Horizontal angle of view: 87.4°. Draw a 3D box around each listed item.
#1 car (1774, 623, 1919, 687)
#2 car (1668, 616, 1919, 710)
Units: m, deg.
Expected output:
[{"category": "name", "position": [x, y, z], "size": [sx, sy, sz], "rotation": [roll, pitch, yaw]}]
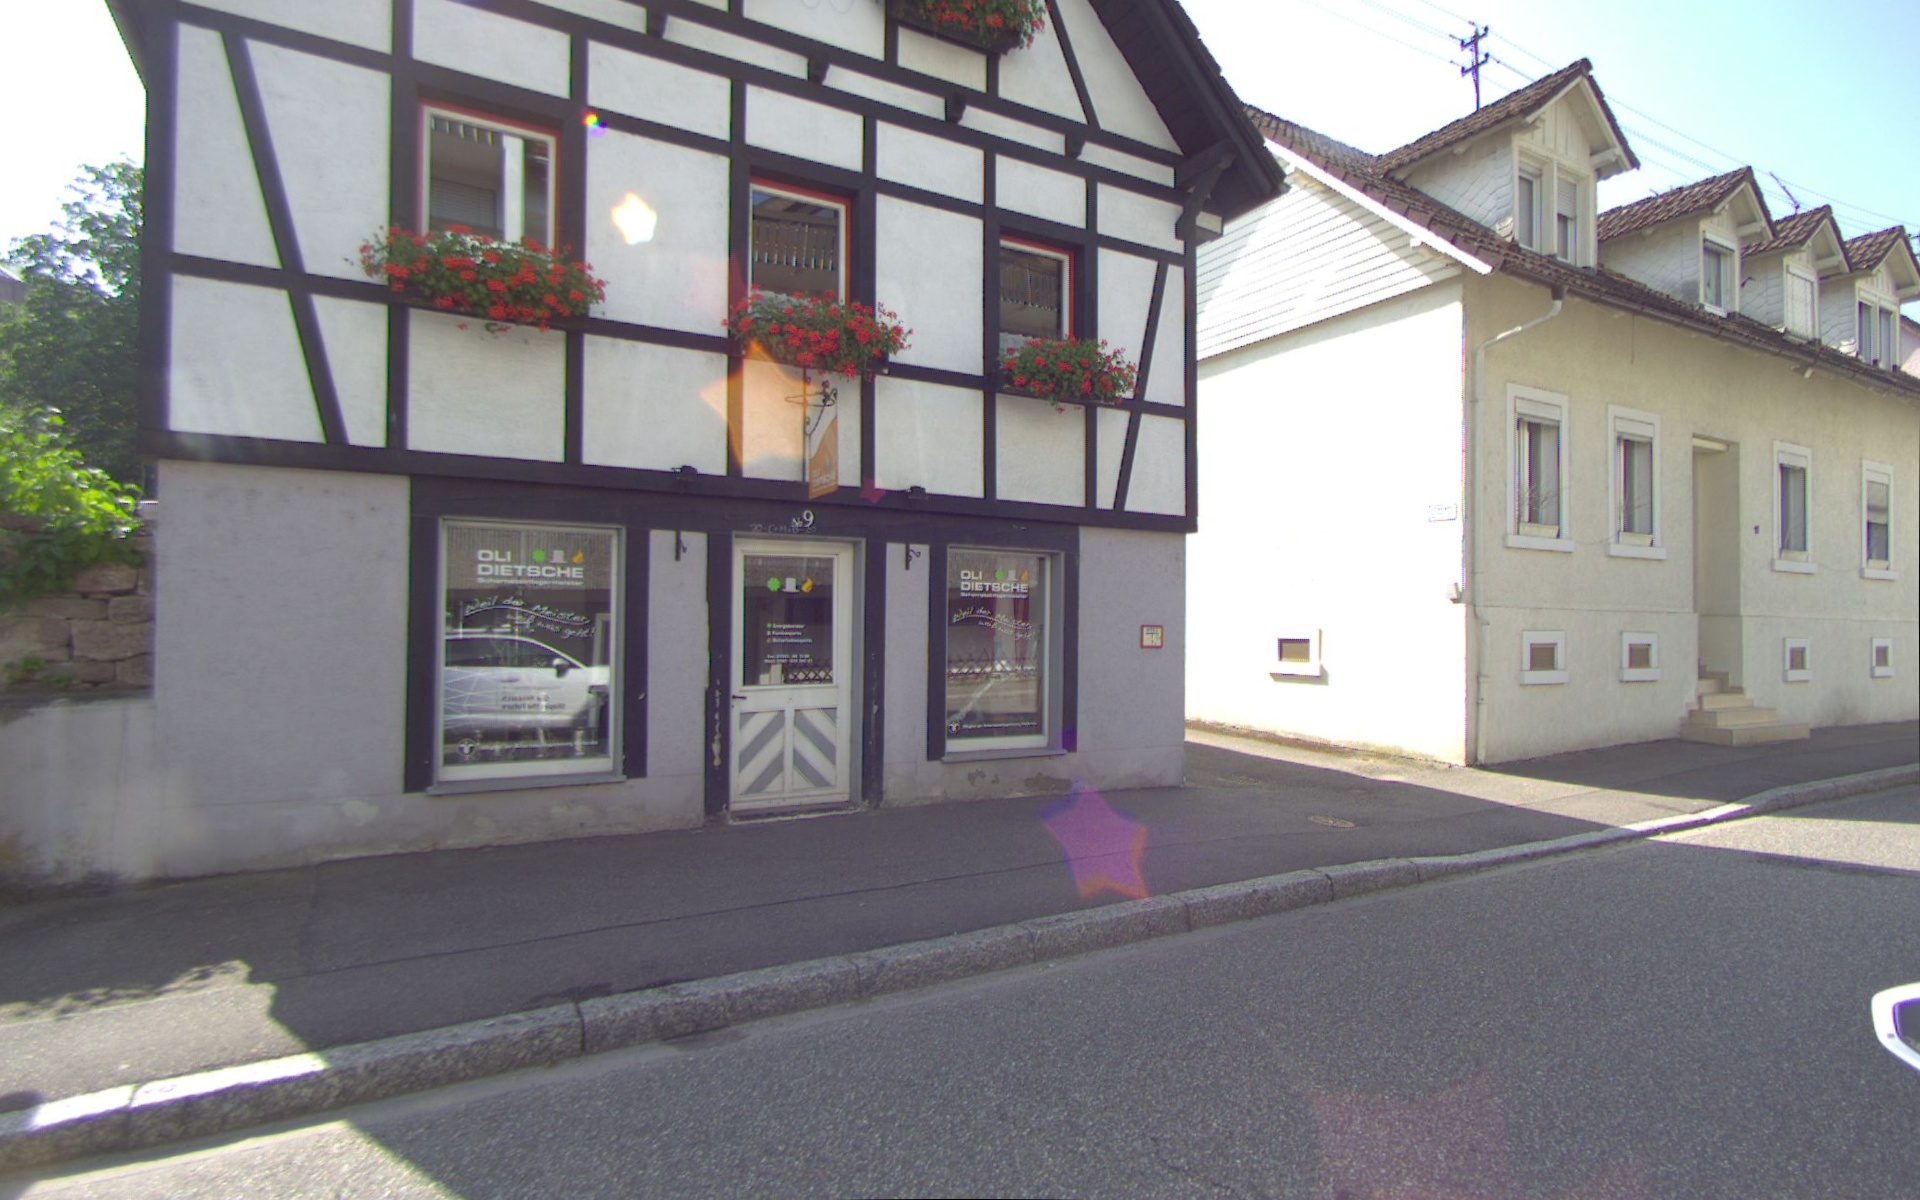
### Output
[{"category": "car", "position": [22.922, 1.349, 25.084], "size": [1.628, 1.411, 3.729], "rotation": [0, 0, -33]}, {"category": "car", "position": [16.756, 1.160, 19.992], "size": [1.886, 1.615, 3.965], "rotation": [1, 0, -32]}]
